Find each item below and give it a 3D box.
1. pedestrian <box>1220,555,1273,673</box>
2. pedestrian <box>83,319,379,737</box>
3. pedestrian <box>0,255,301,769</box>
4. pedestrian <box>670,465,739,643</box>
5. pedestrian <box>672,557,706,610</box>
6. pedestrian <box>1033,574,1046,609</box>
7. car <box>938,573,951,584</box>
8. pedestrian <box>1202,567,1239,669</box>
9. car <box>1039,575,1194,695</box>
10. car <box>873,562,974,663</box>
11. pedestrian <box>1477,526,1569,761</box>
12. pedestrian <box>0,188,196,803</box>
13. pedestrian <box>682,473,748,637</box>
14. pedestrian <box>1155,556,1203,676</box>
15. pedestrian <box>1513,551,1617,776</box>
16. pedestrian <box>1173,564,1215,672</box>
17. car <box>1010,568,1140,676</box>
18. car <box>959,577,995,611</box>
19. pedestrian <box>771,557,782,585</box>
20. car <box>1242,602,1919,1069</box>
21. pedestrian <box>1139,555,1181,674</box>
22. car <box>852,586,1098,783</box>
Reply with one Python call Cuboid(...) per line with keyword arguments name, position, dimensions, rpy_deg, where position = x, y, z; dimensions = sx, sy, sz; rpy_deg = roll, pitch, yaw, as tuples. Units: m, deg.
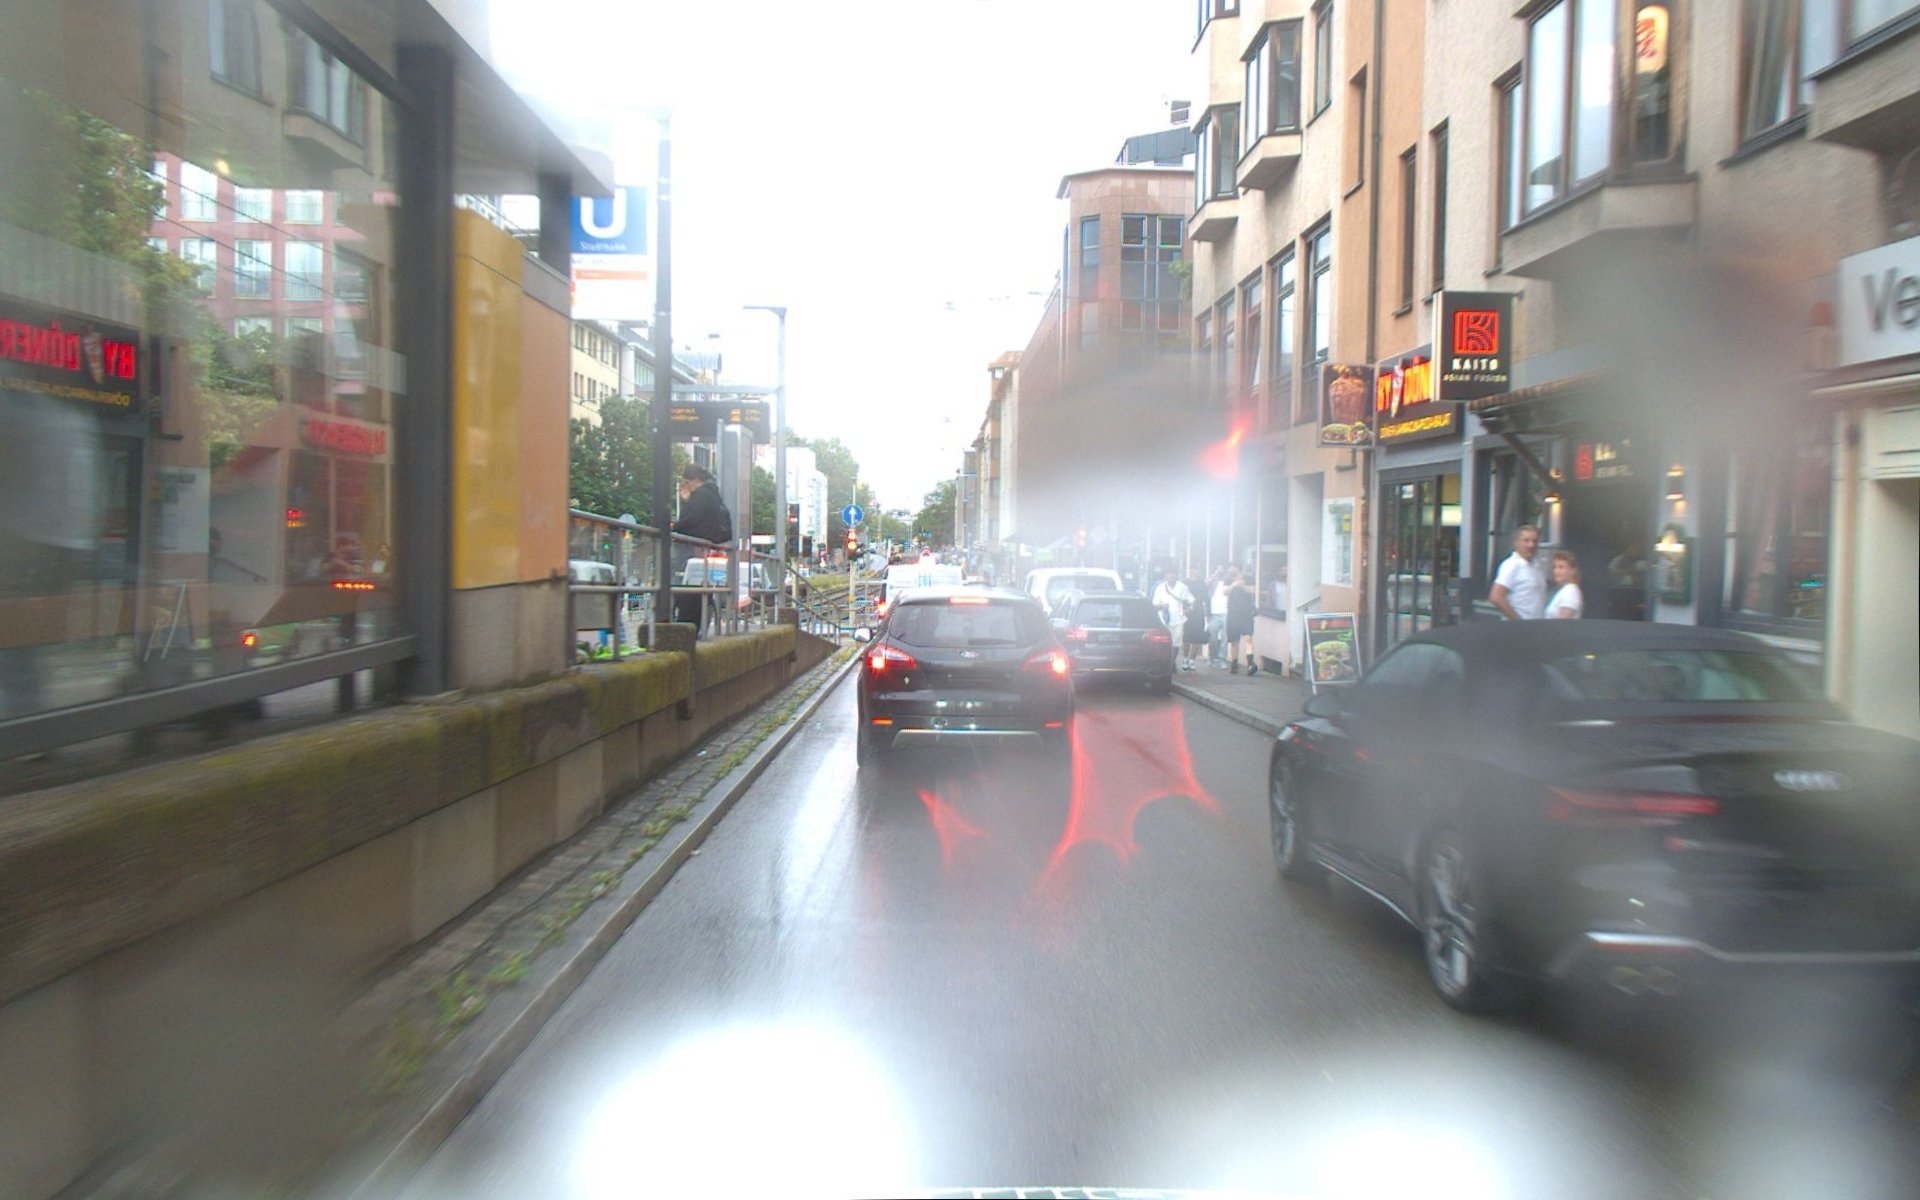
Cuboid(name="pedestrian", position=(4.578, 0.220, 26.487), dimensions=(0.740, 1.851, 0.588), rpy_deg=(0, 0, 0))
Cuboid(name="pedestrian", position=(-2.441, -0.232, 5.617), dimensions=(0.713, 1.325, 0.700), rpy_deg=(0, 0, -4))
Cuboid(name="pedestrian", position=(-2.330, -0.229, 4.629), dimensions=(0.713, 1.325, 0.700), rpy_deg=(0, 0, -4))
Cuboid(name="pedestrian", position=(-2.402, -0.427, 15.596), dimensions=(0.572, 1.637, 0.700), rpy_deg=(0, 0, -4))
Cuboid(name="pedestrian", position=(-10.427, -0.630, 63.773), dimensions=(1.093, 2.049, 1.383), rpy_deg=(0, 0, -1))
Cuboid(name="pedestrian", position=(3.759, -0.401, 78.202), dimensions=(0.589, 1.688, 0.625), rpy_deg=(0, 0, -1))
Cuboid(name="car", position=(-2.298, -3.234, 250.613), dimensions=(1.867, 1.662, 4.573), rpy_deg=(0, 0, 0))
Cuboid(name="pedestrian", position=(4.484, 0.303, 28.486), dimensions=(0.564, 1.744, 0.477), rpy_deg=(0, 0, 0))
Cuboid(name="car", position=(2.256, 0.472, 24.971), dimensions=(1.868, 1.644, 4.413), rpy_deg=(0, 0, -1))
Cuboid(name="car", position=(-0.705, 0.226, 33.216), dimensions=(1.868, 1.897, 4.573), rpy_deg=(0, 0, -1))
Cuboid(name="pedestrian", position=(4.640, 0.347, 13.643), dimensions=(0.519, 1.891, 0.555), rpy_deg=(0, 0, -9))
Cuboid(name="pedestrian", position=(-2.320, -0.226, 3.903), dimensions=(0.713, 1.325, 0.701), rpy_deg=(0, 0, -2))
Cuboid(name="pedestrian", position=(-2.407, -0.435, 16.304), dimensions=(0.572, 1.585, 0.700), rpy_deg=(0, 0, -4))
Cuboid(name="pedestrian", position=(3.487, 0.246, 26.345), dimensions=(0.681, 1.887, 0.652), rpy_deg=(0, 0, 0))
Cuboid(name="pedestrian", position=(4.710, 0.479, 12.897), dimensions=(0.534, 1.710, 0.595), rpy_deg=(0, 0, -9))
Cuboid(name="pedestrian", position=(3.822, 0.284, 27.000), dimensions=(0.598, 1.744, 0.581), rpy_deg=(0, 0, 0))
Cuboid(name="car", position=(2.047, 0.371, 30.747), dimensions=(1.868, 1.838, 4.774), rpy_deg=(0, 0, -3))
Cuboid(name="car", position=(0.823, -0.294, 79.592), dimensions=(1.664, 1.505, 3.867), rpy_deg=(-2, 0, 0))
Cuboid(name="pedestrian", position=(-11.837, -1.866, 106.589), dimensions=(0.642, 1.833, 0.849), rpy_deg=(0, 1, -3))
Cuboid(name="car", position=(2.629, 0.768, 7.504), dimensions=(1.868, 1.488, 4.244), rpy_deg=(0, 0, -2))
Cuboid(name="pedestrian", position=(3.384, 0.242, 28.039), dimensions=(0.638, 1.982, 0.533), rpy_deg=(0, 0, 0))
Cuboid(name="car", position=(0.100, 0.637, 14.318), dimensions=(1.868, 1.488, 3.444), rpy_deg=(0, 0, -1))
